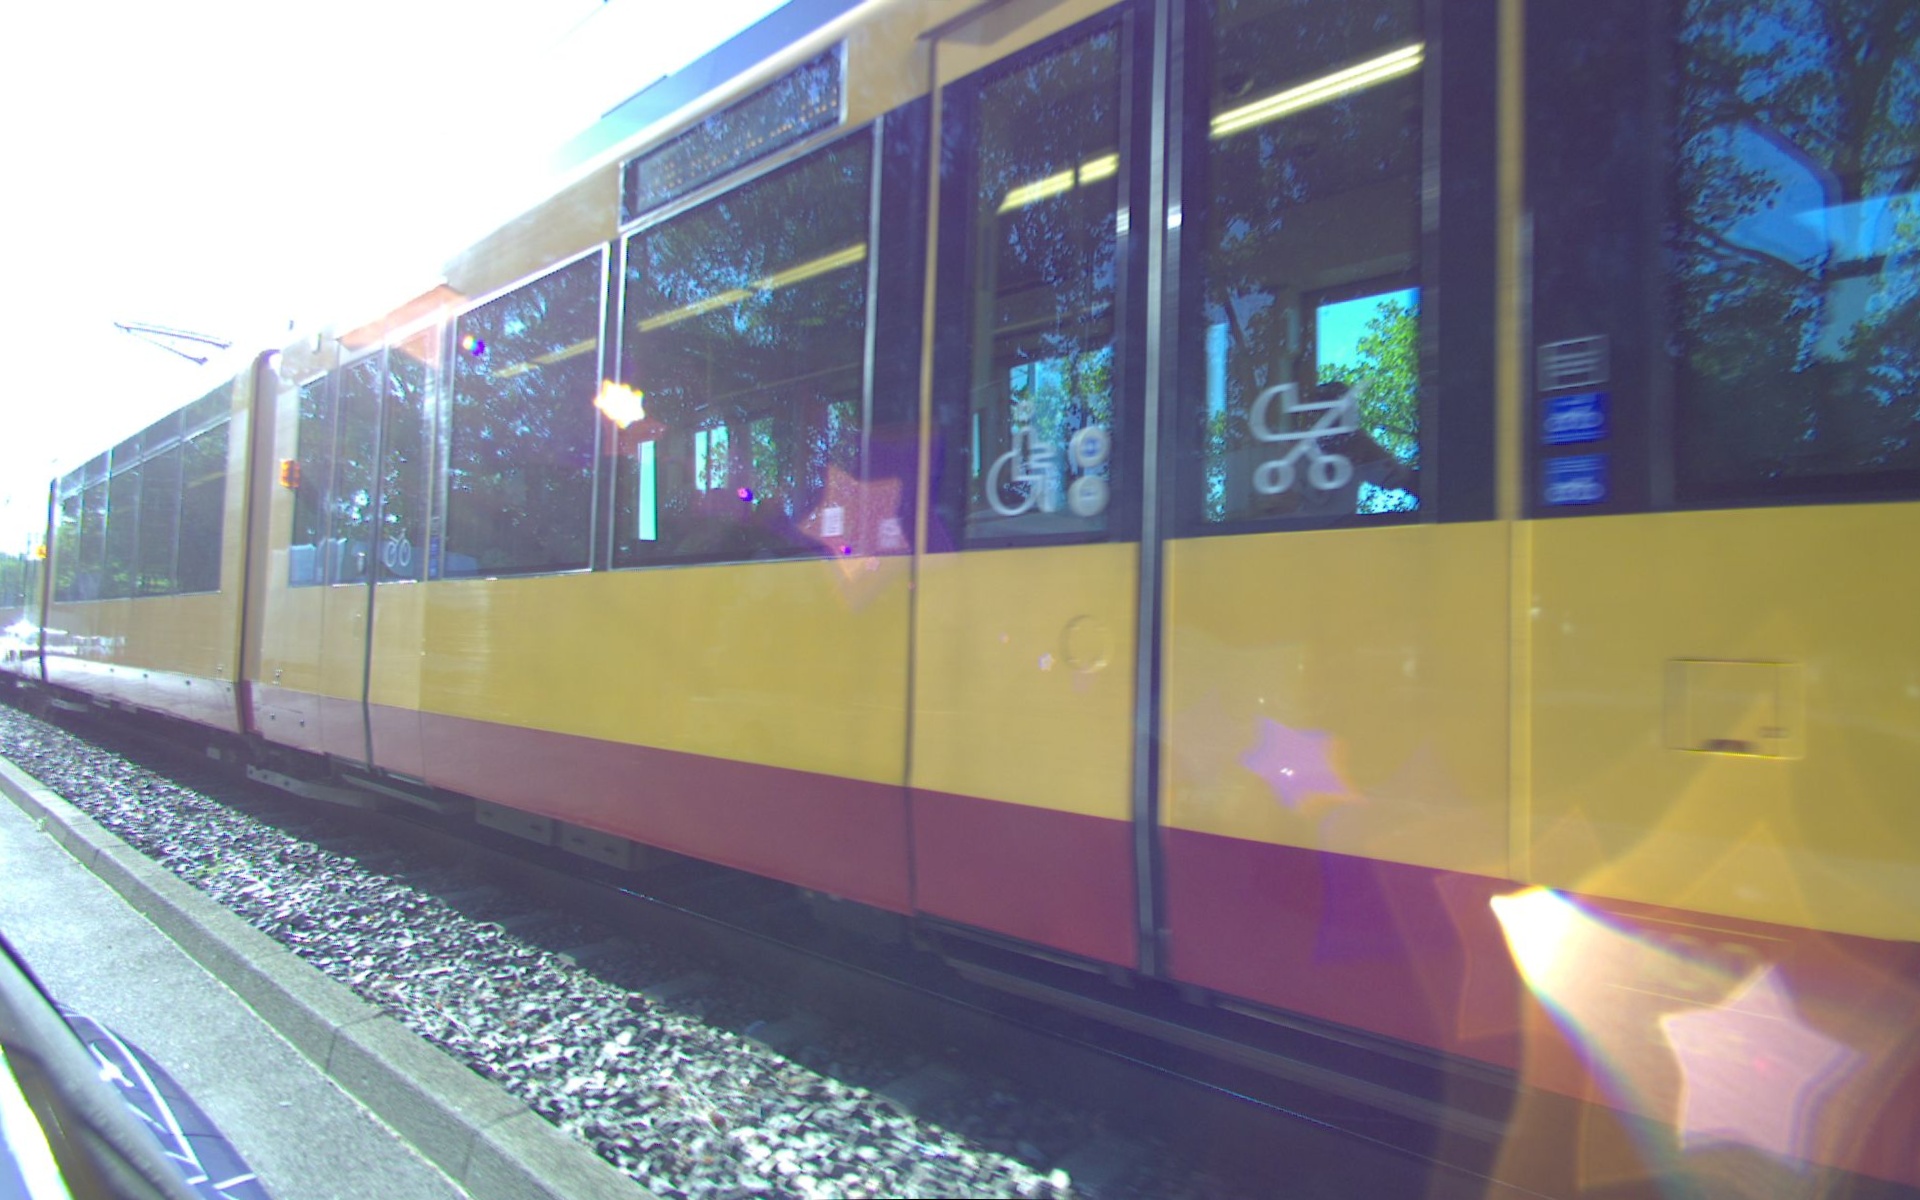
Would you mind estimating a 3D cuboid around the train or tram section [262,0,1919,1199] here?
[{"bbox_3d":[1.283,-0.596,3.188,12.808,4.120,2.691,-1,-3,42],"label":"train or tram section"}]

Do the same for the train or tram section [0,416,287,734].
[{"bbox_3d":[-16.082,-0.165,18.579,13.608,4.122,2.693,-1,-3,41],"label":"train or tram section"}]

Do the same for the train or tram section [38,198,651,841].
[{"bbox_3d":[-7.204,-0.406,10.754,9.906,4.120,2.666,-1,-3,41],"label":"train or tram section"}]
